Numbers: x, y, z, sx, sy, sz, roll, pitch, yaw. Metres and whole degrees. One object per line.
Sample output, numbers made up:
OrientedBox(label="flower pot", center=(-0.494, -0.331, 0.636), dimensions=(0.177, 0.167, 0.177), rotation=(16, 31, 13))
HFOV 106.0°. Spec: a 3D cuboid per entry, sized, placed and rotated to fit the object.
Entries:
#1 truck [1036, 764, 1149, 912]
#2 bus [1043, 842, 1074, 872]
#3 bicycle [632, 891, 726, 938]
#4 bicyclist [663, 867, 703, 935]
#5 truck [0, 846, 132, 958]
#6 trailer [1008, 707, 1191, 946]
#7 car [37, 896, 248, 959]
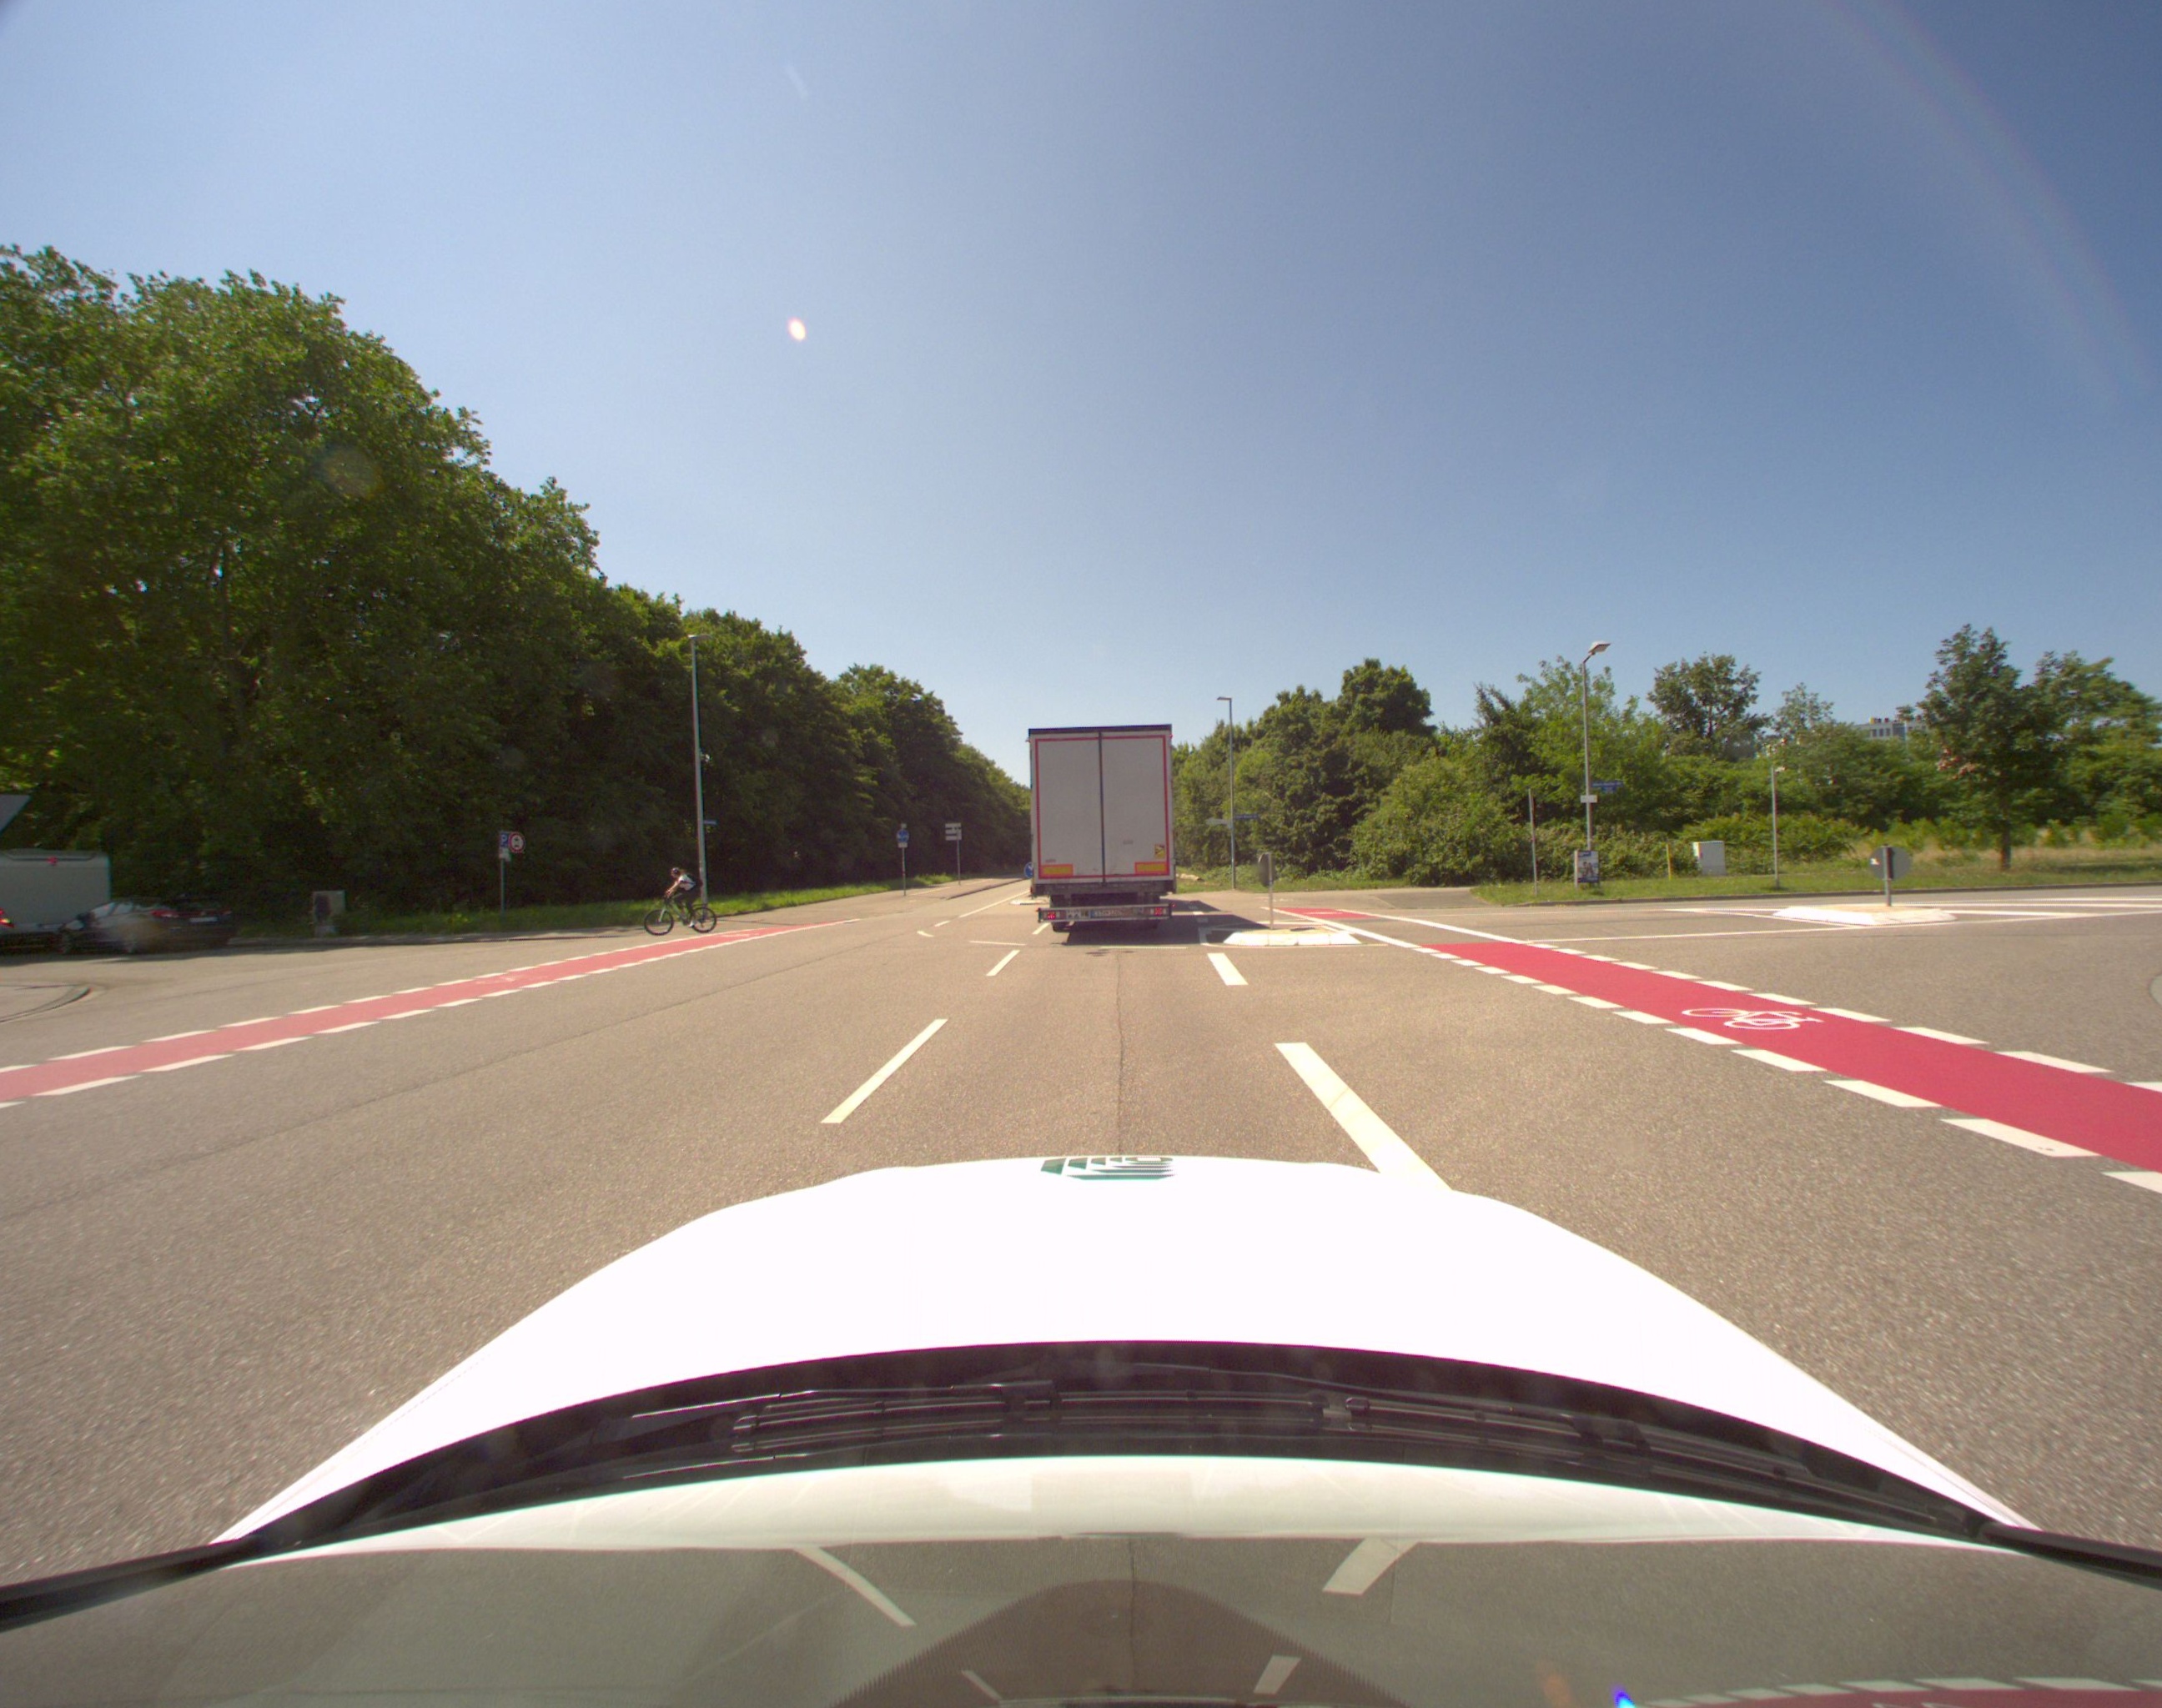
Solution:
OrientedBox(label="truck", center=(0.345, -0.440, 26.681), dimensions=(3.067, 4.070, 7.958), rotation=(-1, 0, 0))
OrientedBox(label="bus", center=(-2.491, 0.360, 94.906), dimensions=(2.739, 3.045, 11.941), rotation=(-4, 0, 1))
OrientedBox(label="bicycle", center=(-10.347, 1.536, 21.011), dimensions=(2.055, 1.055, 0.663), rotation=(-1, 0, -39))
OrientedBox(label="bicyclist", center=(-10.294, 1.192, 21.063), dimensions=(0.773, 1.706, 0.659), rotation=(-1, 0, -39))
OrientedBox(label="truck", center=(-31.261, 1.421, 23.009), dimensions=(7.269, 2.910, 2.576), rotation=(-3, -1, 12))
OrientedBox(label="trailer", center=(0.333, -0.461, 18.932), dimensions=(3.067, 4.070, 9.807), rotation=(-1, 0, 0))
OrientedBox(label="car", center=(-24.581, 1.905, 21.378), dimensions=(4.271, 1.417, 1.672), rotation=(-3, -2, 10))
